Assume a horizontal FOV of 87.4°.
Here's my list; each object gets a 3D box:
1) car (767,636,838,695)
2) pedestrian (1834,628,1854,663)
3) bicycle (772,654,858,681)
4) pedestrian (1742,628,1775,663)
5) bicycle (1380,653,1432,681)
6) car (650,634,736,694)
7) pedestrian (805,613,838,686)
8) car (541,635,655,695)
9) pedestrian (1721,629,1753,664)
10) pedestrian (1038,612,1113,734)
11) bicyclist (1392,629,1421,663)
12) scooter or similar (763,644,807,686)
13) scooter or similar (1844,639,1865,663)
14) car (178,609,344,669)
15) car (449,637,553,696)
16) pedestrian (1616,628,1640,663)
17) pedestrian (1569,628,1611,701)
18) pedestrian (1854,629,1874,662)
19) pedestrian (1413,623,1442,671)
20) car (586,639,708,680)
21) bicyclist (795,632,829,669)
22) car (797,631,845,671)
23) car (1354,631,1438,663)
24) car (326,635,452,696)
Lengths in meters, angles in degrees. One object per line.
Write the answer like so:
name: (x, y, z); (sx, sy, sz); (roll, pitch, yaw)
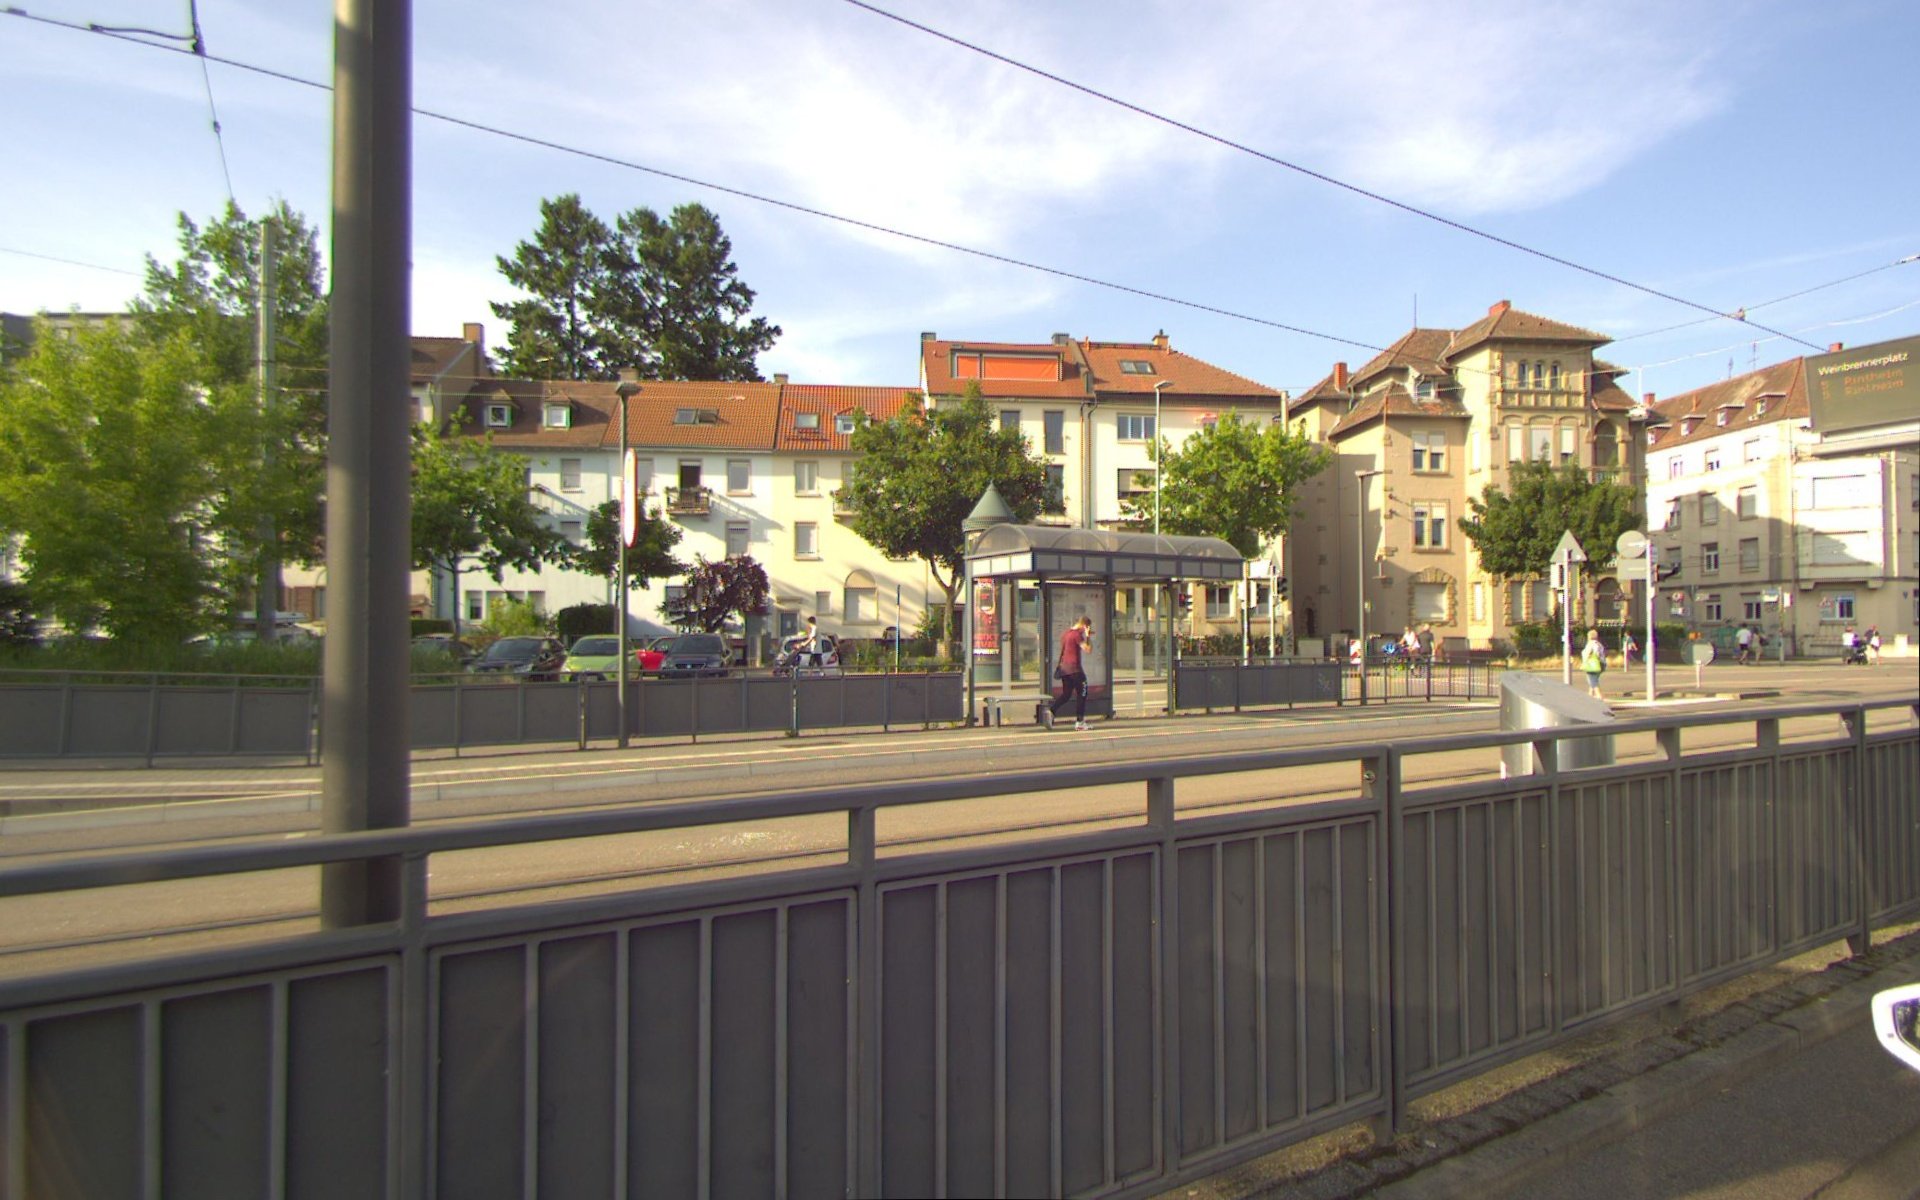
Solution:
car: (-4.344, 1.764, 27.818); (1.815, 1.505, 3.995); (0, -2, -9)
pedestrian: (41.542, 2.138, 47.223); (0.601, 1.647, 0.506); (1, -2, -29)
bicycle: (-5.081, 2.367, 35.314); (2.942, 0.926, 0.786); (0, -2, -8)
pedestrian: (35.694, 2.026, 44.889); (0.768, 1.572, 0.831); (0, -2, -8)
bicycle: (14.215, 2.116, 32.006); (1.662, 0.845, 0.525); (1, -2, -23)
car: (-7.161, 1.682, 27.280); (1.815, 1.505, 3.995); (0, -2, -9)
pedestrian: (-3.428, 1.224, 24.848); (0.750, 1.769, 0.547); (0, -2, -15)
car: (-9.694, 1.711, 27.254); (1.813, 1.505, 3.999); (0, -2, -3)
pedestrian: (35.332, 2.117, 45.709); (0.768, 1.572, 0.831); (0, -2, -8)
pedestrian: (1.658, 1.045, 14.466); (0.867, 1.706, 0.551); (1, -5, -30)
bicyclist: (14.244, 1.462, 32.038); (0.670, 1.058, 0.511); (1, -2, -23)
scooter or similar: (-4.287, 1.586, 24.601); (1.006, 1.001, 0.556); (0, -2, -15)
scooter or similar: (42.352, 2.410, 47.574); (0.675, 1.093, 0.541); (2, 0, -30)
car: (-18.653, 1.047, 27.045); (1.813, 1.505, 3.999); (0, -2, -3)
car: (-11.878, 1.675, 26.247); (1.968, 1.416, 3.985); (1, -2, -18)
pedestrian: (30.087, 2.061, 45.231); (0.702, 1.561, 0.626); (1, -2, -30)
pedestrian: (14.273, 1.450, 22.757); (0.627, 1.620, 0.608); (1, -2, -36)
pedestrian: (41.902, 2.086, 46.553); (0.540, 1.520, 0.437); (0, -2, -15)
pedestrian: (16.285, 1.637, 34.993); (0.778, 1.667, 0.757); (-1, -2, 16)
car: (-11.221, 2.121, 36.241); (3.927, 1.416, 1.836); (0, -2, -9)
bicyclist: (-5.193, 1.780, 35.316); (1.153, 1.278, 0.765); (0, -2, -9)
car: (-6.053, 2.196, 44.200); (1.962, 1.684, 3.997); (0, -2, -6)
car: (20.375, 2.173, 47.121); (1.732, 1.327, 4.111); (2, 0, -7)
car: (-14.399, 1.599, 25.588); (1.968, 1.416, 3.985); (1, -2, -18)
